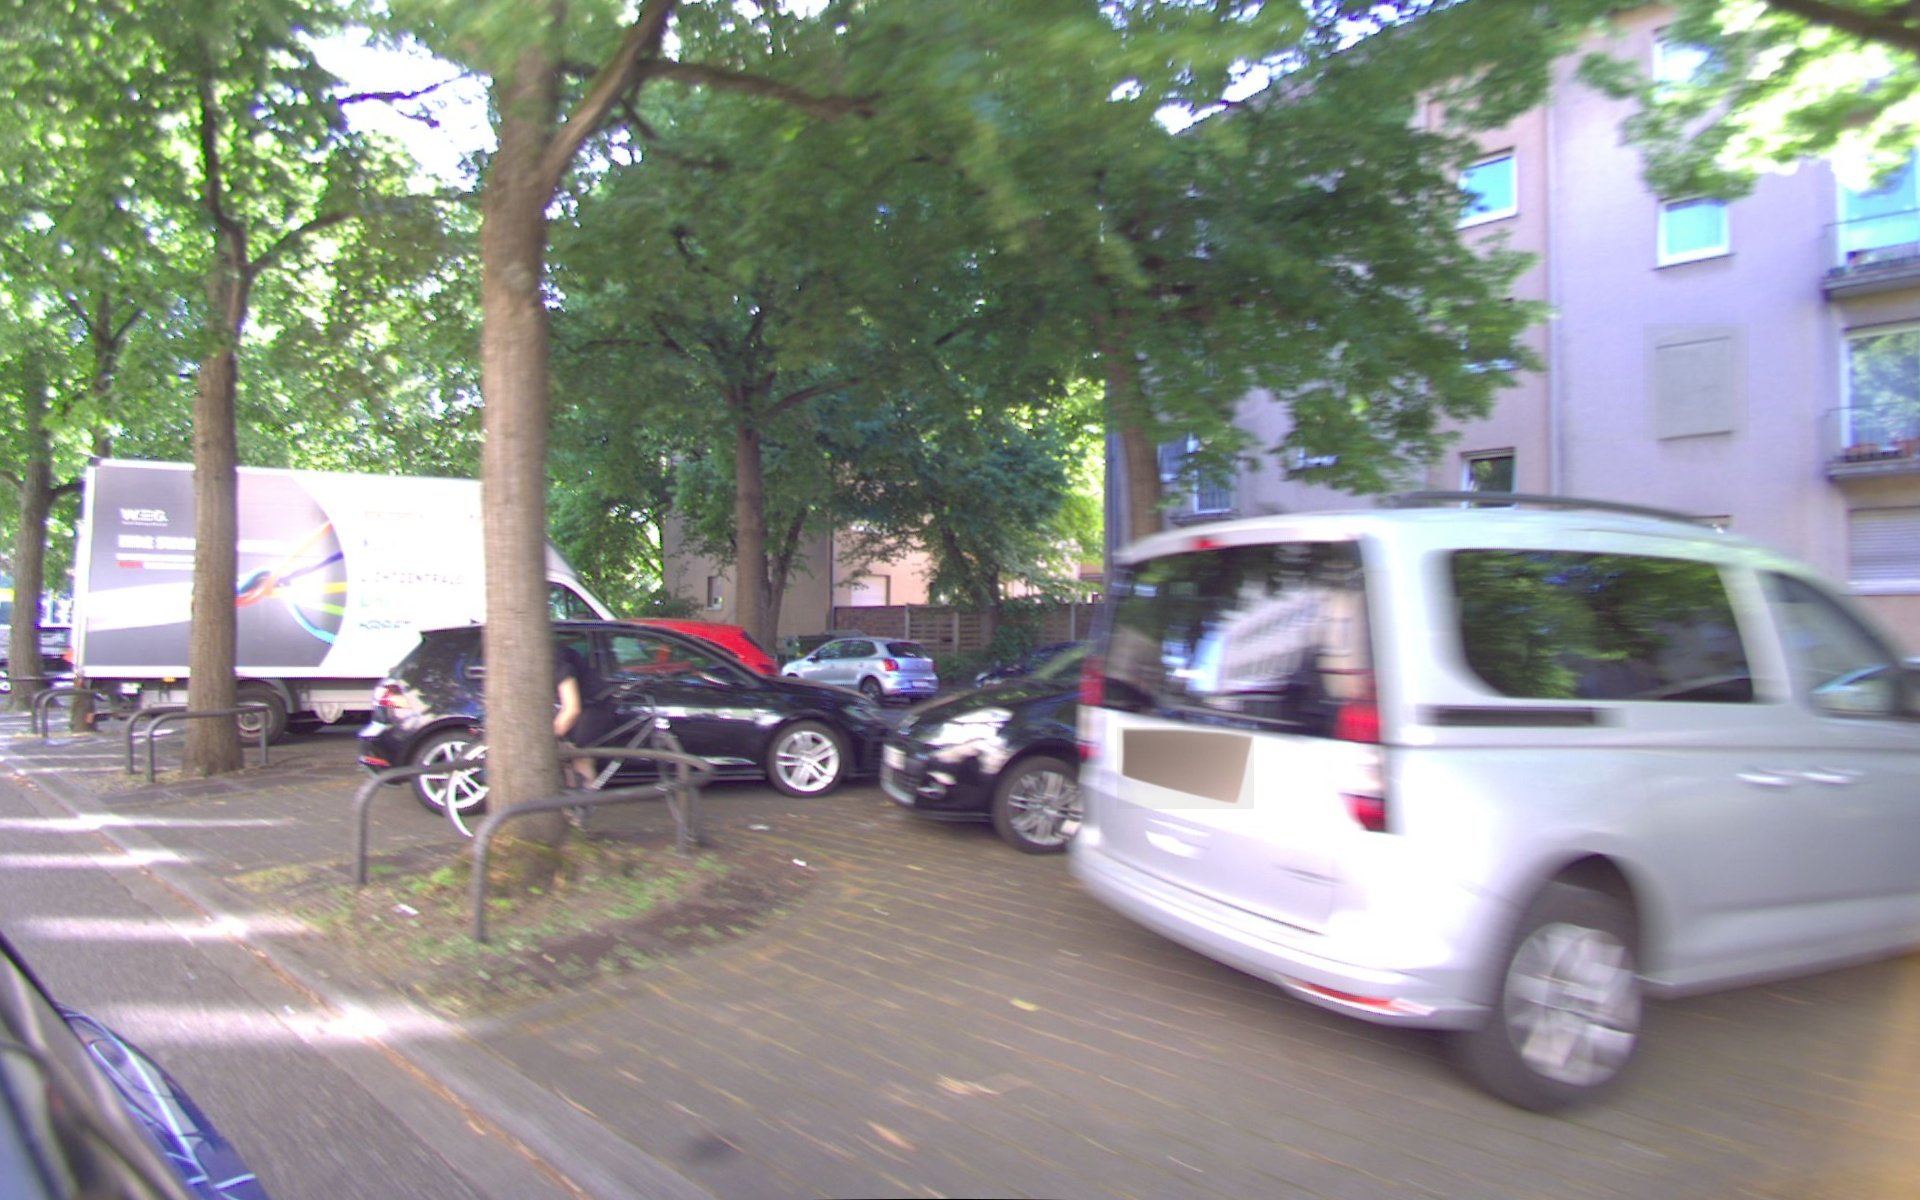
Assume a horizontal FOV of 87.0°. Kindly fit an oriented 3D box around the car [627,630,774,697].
[{"bbox_3d":[-6.651,1.568,25.778,3.948,1.581,1.735,-2,-3,42],"label":"car"}]

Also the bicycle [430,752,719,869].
[{"bbox_3d":[-2.302,1.255,6.164,1.586,0.563,0.411,1,-2,-18],"label":"bicycle"}]

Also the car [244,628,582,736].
[{"bbox_3d":[-8.214,1.201,15.644,4.270,1.518,1.818,1,-2,-15],"label":"car"}]

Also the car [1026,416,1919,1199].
[{"bbox_3d":[2.740,0.545,4.253,4.445,1.879,2.088,1,-2,-24],"label":"car"}]

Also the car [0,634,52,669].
[{"bbox_3d":[-43.390,2.356,46.230,1.655,1.519,3.607,-1,-2,-21],"label":"car"}]

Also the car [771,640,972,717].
[{"bbox_3d":[-1.941,1.565,21.308,4.342,1.446,1.745,-2,-3,42],"label":"car"}]

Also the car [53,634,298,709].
[{"bbox_3d":[-16.583,1.475,21.624,3.757,1.492,1.767,1,-2,-20],"label":"car"}]

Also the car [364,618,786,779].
[{"bbox_3d":[-3.995,0.961,10.981,3.931,1.514,1.854,0,-2,-17],"label":"car"}]

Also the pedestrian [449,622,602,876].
[{"bbox_3d":[-2.614,0.849,6.190,0.740,1.407,0.931,1,-2,-17],"label":"pedestrian"}]

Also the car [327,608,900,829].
[{"bbox_3d":[-2.675,0.849,8.385,4.038,1.518,1.738,0,-2,-17],"label":"car"}]

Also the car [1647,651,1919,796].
[{"bbox_3d":[10.147,1.283,10.711,4.612,1.403,1.710,-2,-4,40],"label":"car"}]

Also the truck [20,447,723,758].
[{"bbox_3d":[-6.880,0.140,13.071,7.200,3.319,2.554,1,-3,-17],"label":"truck"}]

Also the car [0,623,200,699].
[{"bbox_3d":[-21.575,1.480,24.865,4.262,1.684,1.843,-1,-2,-19],"label":"car"}]

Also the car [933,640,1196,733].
[{"bbox_3d":[1.779,1.460,17.889,4.333,1.446,1.748,-1,-4,35],"label":"car"}]

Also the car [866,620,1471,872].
[{"bbox_3d":[1.342,0.854,6.987,3.737,1.417,1.628,0,-2,-15],"label":"car"}]

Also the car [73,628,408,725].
[{"bbox_3d":[-12.017,1.250,17.244,4.270,1.518,1.818,1,-2,-15],"label":"car"}]
